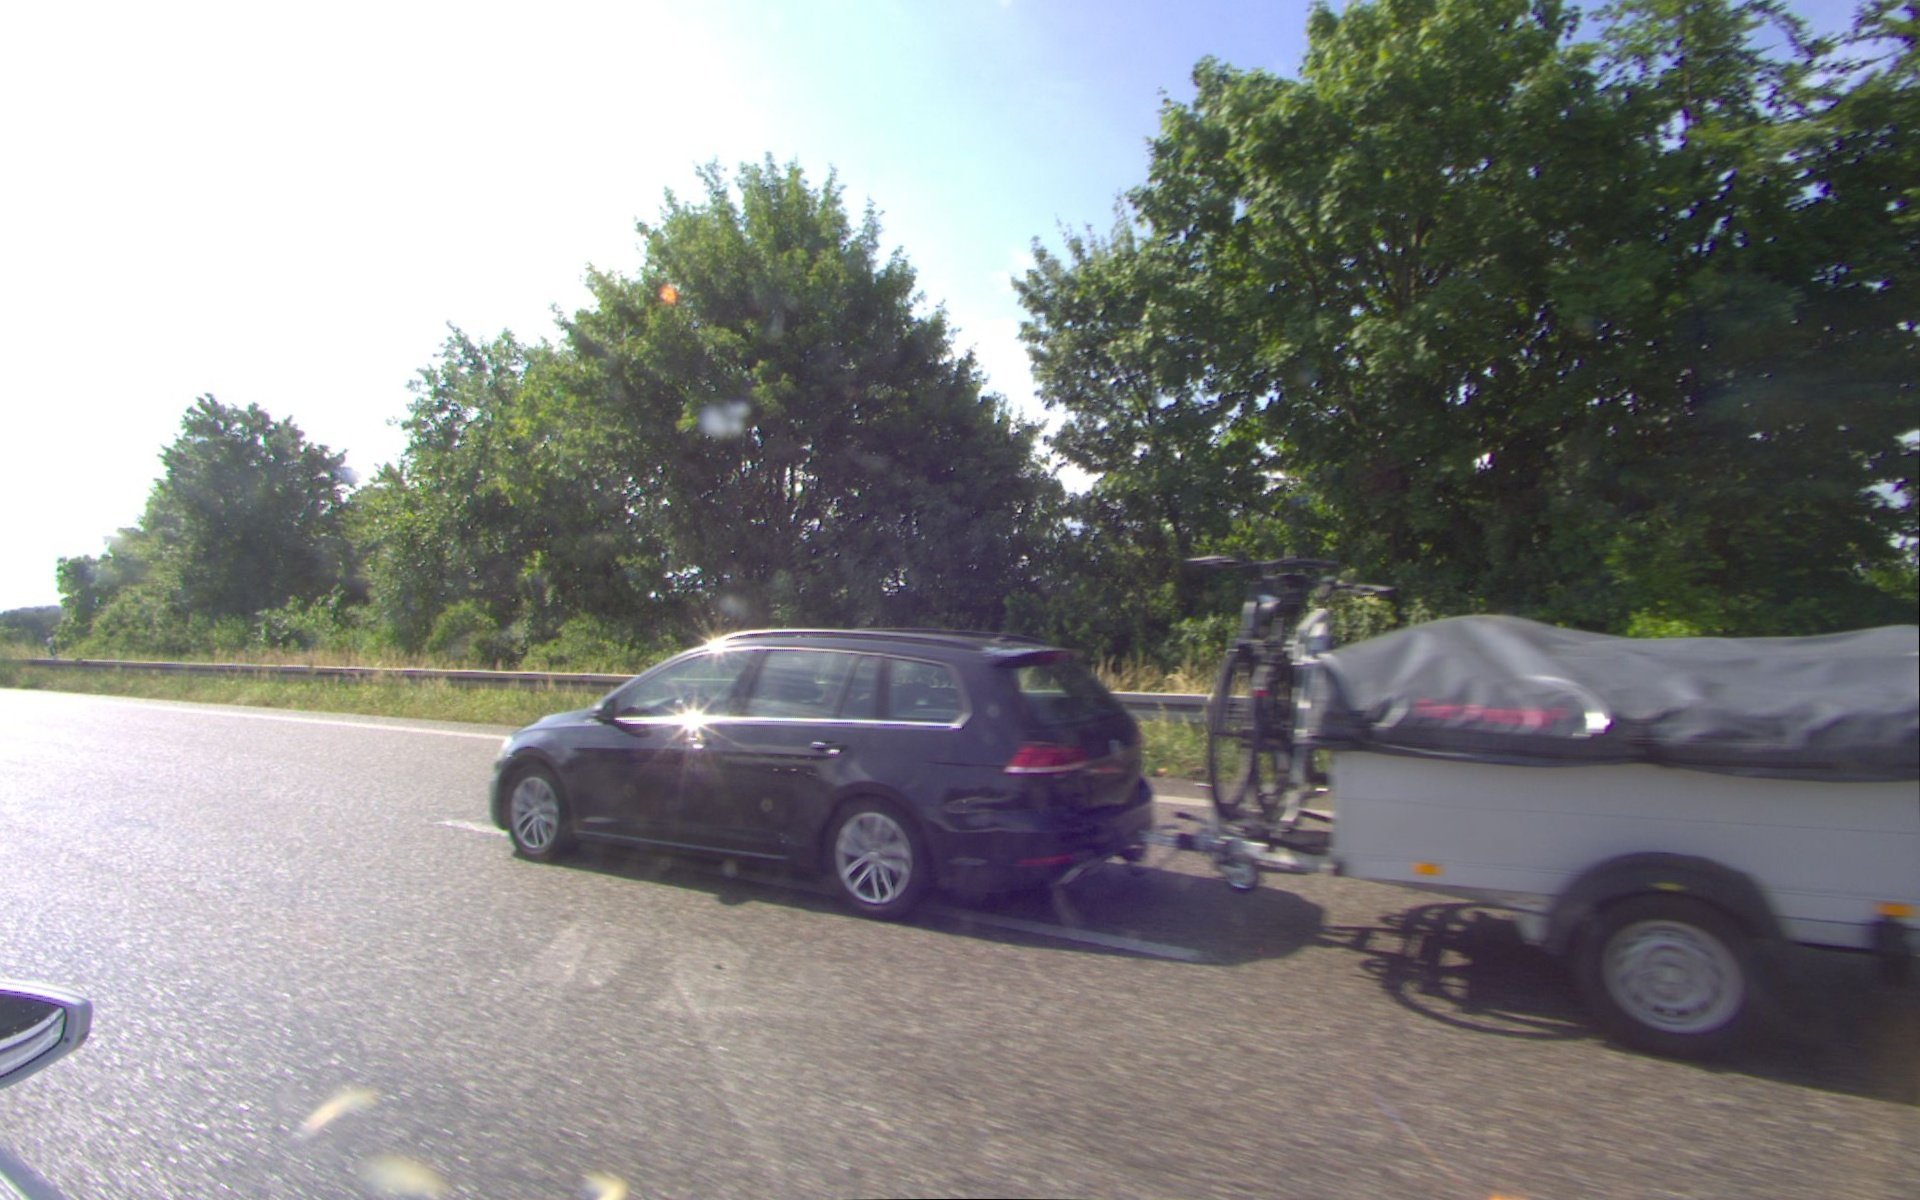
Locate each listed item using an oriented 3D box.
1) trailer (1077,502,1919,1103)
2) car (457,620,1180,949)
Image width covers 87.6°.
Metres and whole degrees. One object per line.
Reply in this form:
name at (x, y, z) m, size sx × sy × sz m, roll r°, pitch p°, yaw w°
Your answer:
trailer at (2.636, 0.638, 4.115) m, size 3.909 × 1.768 × 1.804 m, roll -1°, pitch -2°, yaw 31°
car at (-1.002, 0.863, 6.254) m, size 4.339 × 1.449 × 1.741 m, roll -1°, pitch -1°, yaw 30°
